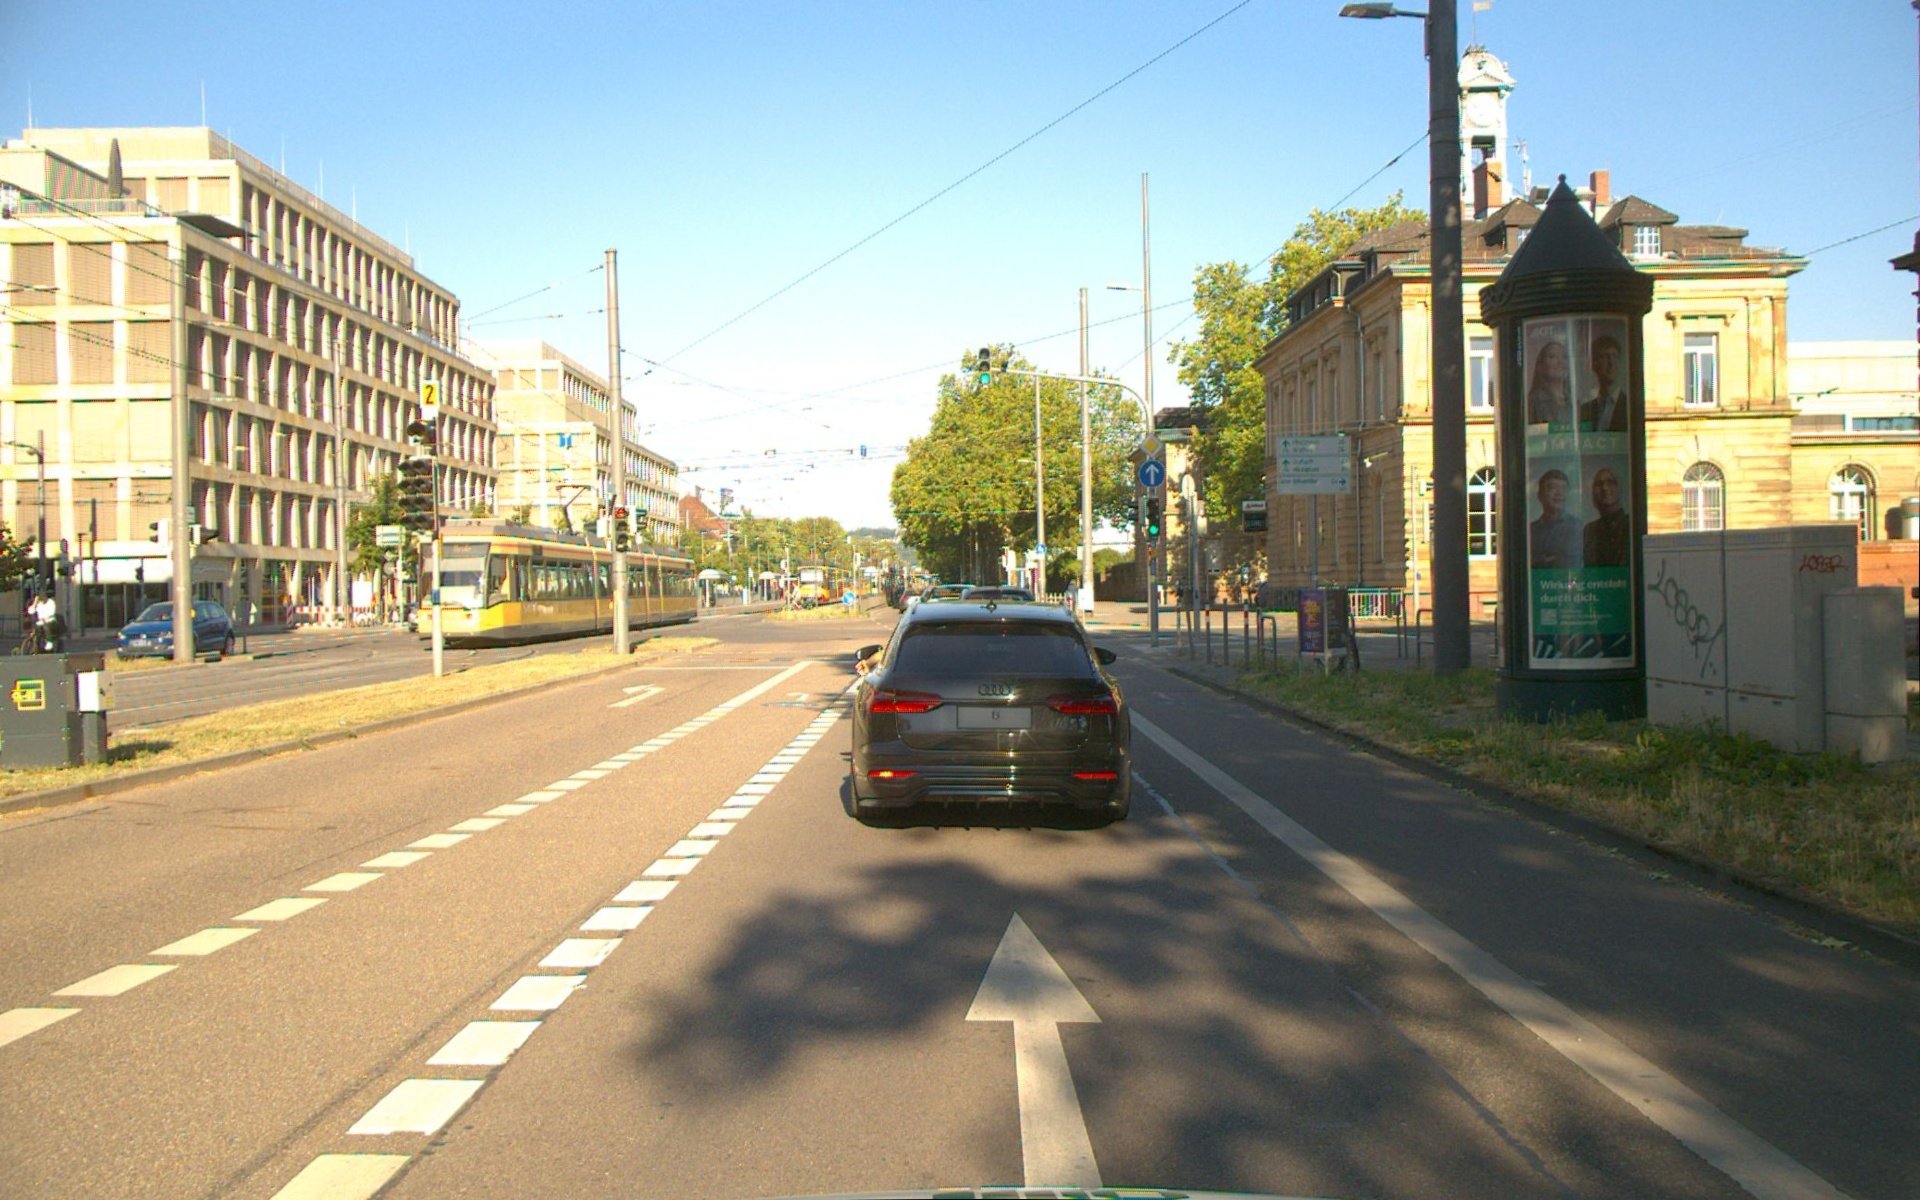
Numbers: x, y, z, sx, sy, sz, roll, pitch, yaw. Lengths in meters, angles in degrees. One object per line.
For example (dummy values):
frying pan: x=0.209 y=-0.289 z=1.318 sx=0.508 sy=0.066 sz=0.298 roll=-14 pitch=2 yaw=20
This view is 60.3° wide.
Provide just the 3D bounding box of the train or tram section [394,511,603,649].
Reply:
train or tram section: x=-13.533 y=-0.578 z=49.981 sx=2.756 sy=3.550 sz=13.201 roll=-1 pitch=0 yaw=-1

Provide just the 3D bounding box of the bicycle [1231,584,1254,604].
bicycle: x=15.727 y=-0.325 z=92.112 sx=0.516 sy=1.065 sz=2.354 roll=-1 pitch=1 yaw=-9

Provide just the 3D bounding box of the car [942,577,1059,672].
car: x=0.639 y=0.382 z=28.681 sx=1.864 sy=1.512 sz=4.144 roll=1 pitch=0 yaw=-1

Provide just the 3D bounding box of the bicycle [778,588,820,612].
bicycle: x=-8.118 y=-0.012 z=83.264 sx=1.977 sy=1.127 sz=0.760 roll=-2 pitch=0 yaw=-21

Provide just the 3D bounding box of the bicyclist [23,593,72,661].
bicyclist: x=-21.698 y=0.629 z=39.339 sx=0.671 sy=1.590 sz=0.785 roll=-2 pitch=0 yaw=0

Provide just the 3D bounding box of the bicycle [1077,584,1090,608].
bicycle: x=6.127 y=-0.223 z=82.124 sx=0.426 sy=1.165 sz=1.339 roll=-1 pitch=0 yaw=-3

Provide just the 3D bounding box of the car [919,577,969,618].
car: x=-0.631 y=-0.113 z=64.259 sx=1.864 sy=1.512 sz=4.144 roll=1 pitch=0 yaw=-1

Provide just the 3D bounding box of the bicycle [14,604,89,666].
bicycle: x=-21.695 y=0.810 z=39.523 sx=0.671 sy=1.406 sz=1.947 roll=-2 pitch=0 yaw=0

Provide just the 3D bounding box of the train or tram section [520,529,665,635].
train or tram section: x=-13.749 y=-0.676 z=63.197 sx=2.756 sy=3.550 sz=13.201 roll=-1 pitch=0 yaw=-1

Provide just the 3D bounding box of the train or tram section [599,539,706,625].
train or tram section: x=-13.926 y=-0.796 z=75.868 sx=2.756 sy=3.550 sz=12.151 roll=-1 pitch=0 yaw=-1

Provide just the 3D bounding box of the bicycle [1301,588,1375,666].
bicycle: x=5.511 y=0.378 z=24.203 sx=0.529 sy=1.080 sz=1.770 roll=-2 pitch=0 yaw=-4

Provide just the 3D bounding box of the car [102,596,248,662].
car: x=-19.309 y=0.669 z=40.902 sx=1.784 sy=1.482 sz=4.154 roll=-2 pitch=0 yaw=-3

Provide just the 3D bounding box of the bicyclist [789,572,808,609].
bicyclist: x=-8.115 y=-0.477 z=83.289 sx=0.746 sy=1.850 sz=0.760 roll=-2 pitch=0 yaw=-21

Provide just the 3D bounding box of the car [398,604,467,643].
car: x=-22.221 y=0.967 z=69.826 sx=1.784 sy=1.482 sz=4.154 roll=-2 pitch=0 yaw=-3

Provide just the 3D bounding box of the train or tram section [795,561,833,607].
train or tram section: x=-11.910 y=-1.305 z=135.665 sx=2.556 sy=3.511 sz=11.126 roll=-1 pitch=1 yaw=-3

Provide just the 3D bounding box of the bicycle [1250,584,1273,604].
bicycle: x=16.770 y=-0.323 z=92.114 sx=0.516 sy=1.065 sz=2.354 roll=-1 pitch=1 yaw=-9

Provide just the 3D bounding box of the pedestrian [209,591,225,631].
pedestrian: x=-34.854 y=0.517 z=77.583 sx=0.527 sy=1.875 sz=0.437 roll=-2 pitch=0 yaw=-39

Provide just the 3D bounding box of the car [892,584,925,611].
car: x=-2.999 y=-0.149 z=96.027 sx=1.864 sy=1.512 sz=4.143 roll=1 pitch=0 yaw=-1

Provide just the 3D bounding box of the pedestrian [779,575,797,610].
pedestrian: x=-8.792 y=-0.382 z=84.553 sx=0.730 sy=1.772 sz=0.658 roll=-1 pitch=0 yaw=-24

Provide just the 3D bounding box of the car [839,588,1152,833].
car: x=0.196 y=0.653 z=11.998 sx=1.864 sy=1.446 sz=4.144 roll=1 pitch=0 yaw=-1

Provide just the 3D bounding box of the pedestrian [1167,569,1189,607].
pedestrian: x=11.009 y=-0.602 z=83.357 sx=0.959 sy=1.898 sz=0.826 roll=-1 pitch=0 yaw=0

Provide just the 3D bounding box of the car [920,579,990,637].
car: x=-0.153 y=0.202 z=46.081 sx=1.864 sy=1.512 sz=4.144 roll=1 pitch=0 yaw=-1

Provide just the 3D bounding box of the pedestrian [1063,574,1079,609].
pedestrian: x=5.512 y=-0.423 z=82.087 sx=0.668 sy=1.689 sz=0.758 roll=-1 pitch=0 yaw=-3

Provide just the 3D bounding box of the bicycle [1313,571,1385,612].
bicycle: x=12.535 y=-0.278 z=53.308 sx=2.094 sy=1.230 sz=0.765 roll=-3 pitch=0 yaw=-3
